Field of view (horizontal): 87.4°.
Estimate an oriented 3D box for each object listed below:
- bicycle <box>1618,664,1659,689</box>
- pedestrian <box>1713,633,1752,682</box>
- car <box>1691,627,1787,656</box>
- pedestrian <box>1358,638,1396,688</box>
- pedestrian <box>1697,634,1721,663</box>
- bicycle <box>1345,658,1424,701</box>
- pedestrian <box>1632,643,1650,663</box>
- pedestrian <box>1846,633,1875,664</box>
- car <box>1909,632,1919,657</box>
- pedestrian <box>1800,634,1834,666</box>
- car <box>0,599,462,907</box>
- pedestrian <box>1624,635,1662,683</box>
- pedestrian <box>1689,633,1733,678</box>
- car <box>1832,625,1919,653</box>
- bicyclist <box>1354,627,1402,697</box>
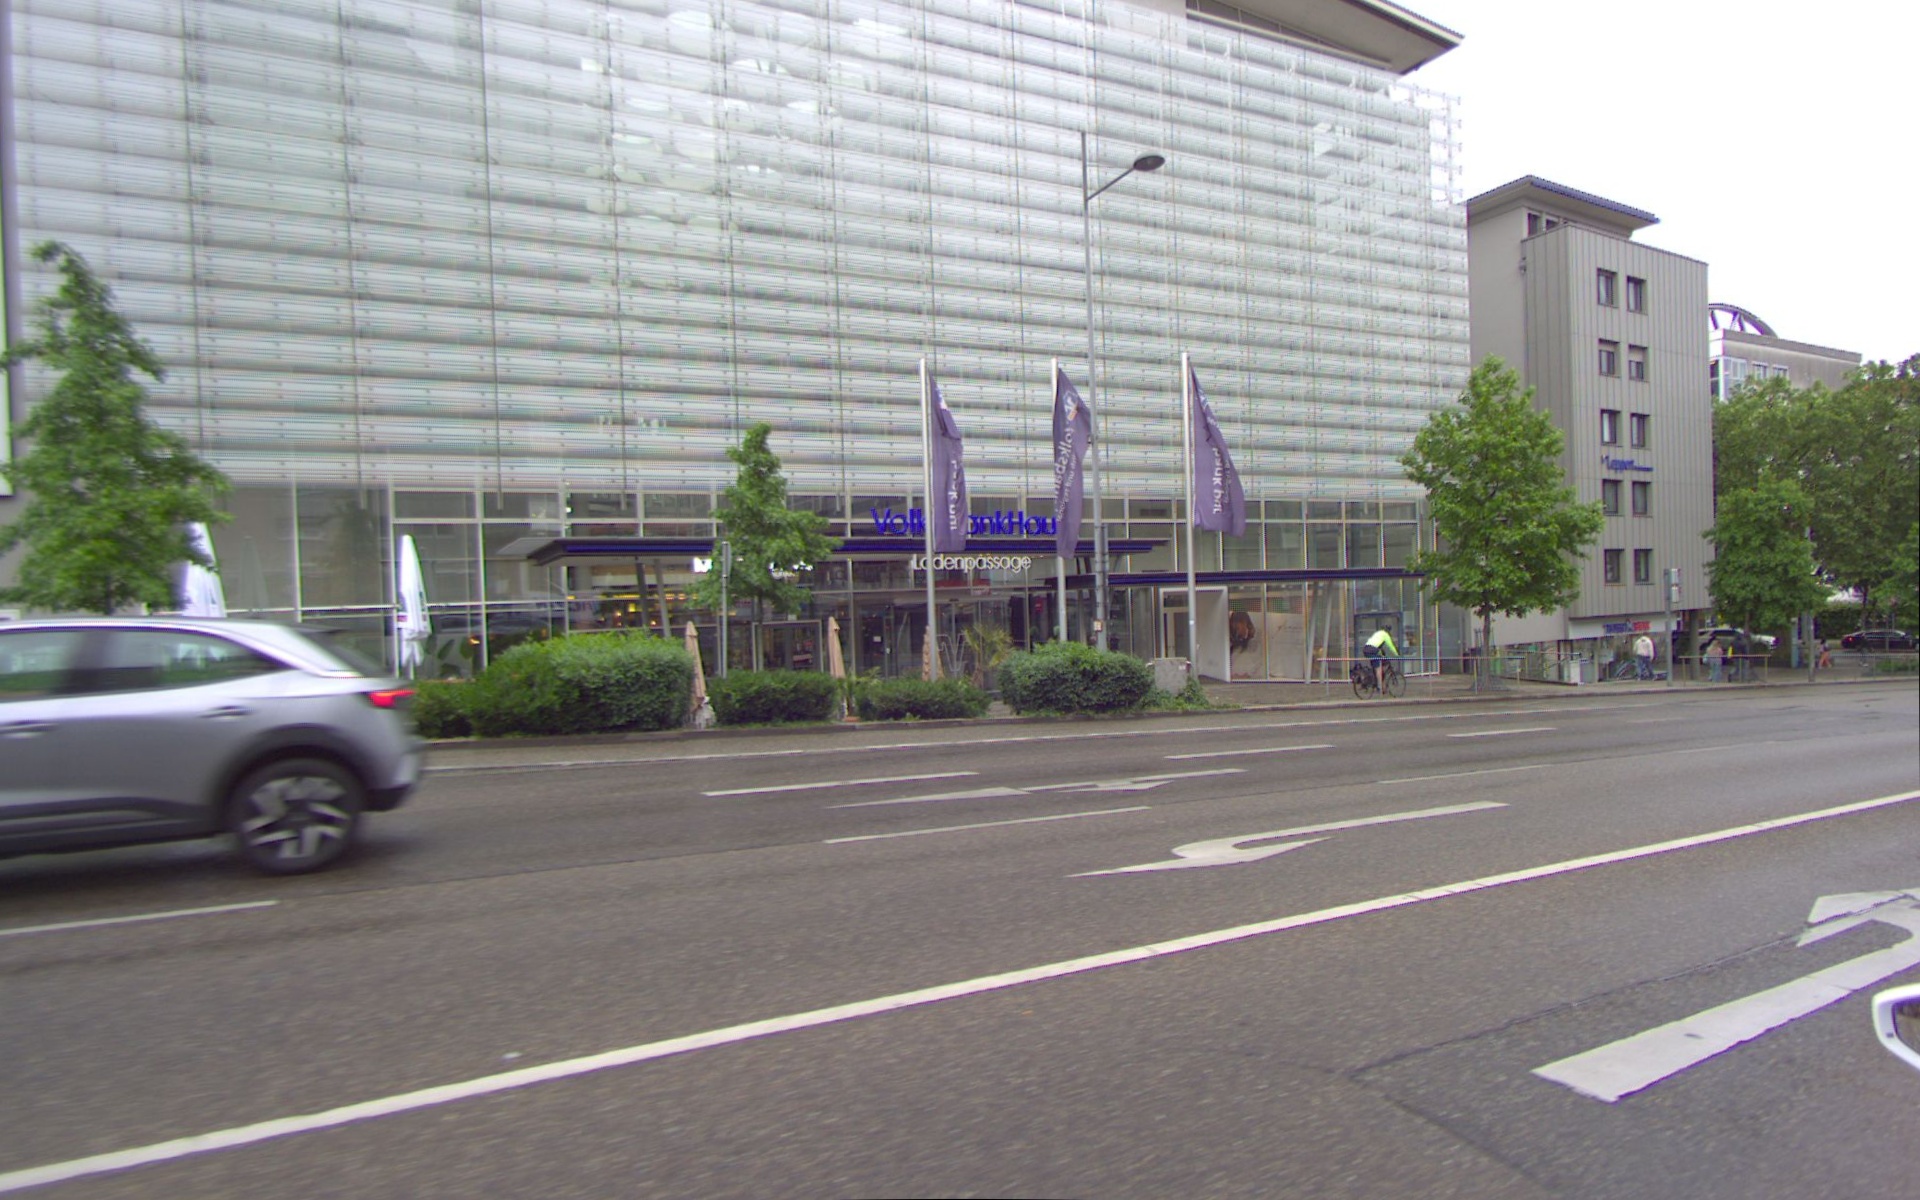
[{"bbox_3d":[31.763,3.574,46.994,2.642,1.101,0.608,2,-1,-33],"label":"bicycle"},{"bbox_3d":[27.793,2.052,36.125,1.302,1.735,0.809,1,-2,-39],"label":"pedestrian"},{"bbox_3d":[53.698,2.844,69.287,1.987,1.782,5.021,2,0,-44],"label":"car"},{"bbox_3d":[12.505,1.872,30.118,0.833,1.475,0.650,1,-2,-25],"label":"pedestrian"},{"bbox_3d":[45.343,2.955,60.834,0.937,1.745,0.757,0,-2,-20],"label":"pedestrian"},{"bbox_3d":[11.368,2.123,26.895,2.040,1.114,0.677,2,-2,-21],"label":"bicycle"},{"bbox_3d":[44.016,3.425,64.921,0.935,1.289,0.758,-2,-2,31],"label":"pedestrian"},{"bbox_3d":[51.157,2.776,57.078,0.746,1.745,0.950,0,-2,-9],"label":"pedestrian"},{"bbox_3d":[60.907,2.798,61.103,1.929,1.502,4.546,2,0,-44],"label":"car"},{"bbox_3d":[48.501,2.845,56.868,0.995,1.745,0.952,-3,-2,1],"label":"pedestrian"},{"bbox_3d":[-5.292,0.836,5.984,4.047,1.572,1.832,1,-4,-31],"label":"car"},{"bbox_3d":[25.232,2.170,37.117,0.982,1.745,1.032,-2,-3,43],"label":"pedestrian"},{"bbox_3d":[29.724,2.182,39.775,1.075,1.745,0.971,1,-2,-25],"label":"pedestrian"},{"bbox_3d":[60.262,2.549,65.794,4.632,1.665,1.776,1,0,44],"label":"car"},{"bbox_3d":[11.171,1.650,26.837,0.976,1.853,0.667,1,-3,-21],"label":"bicyclist"}]
